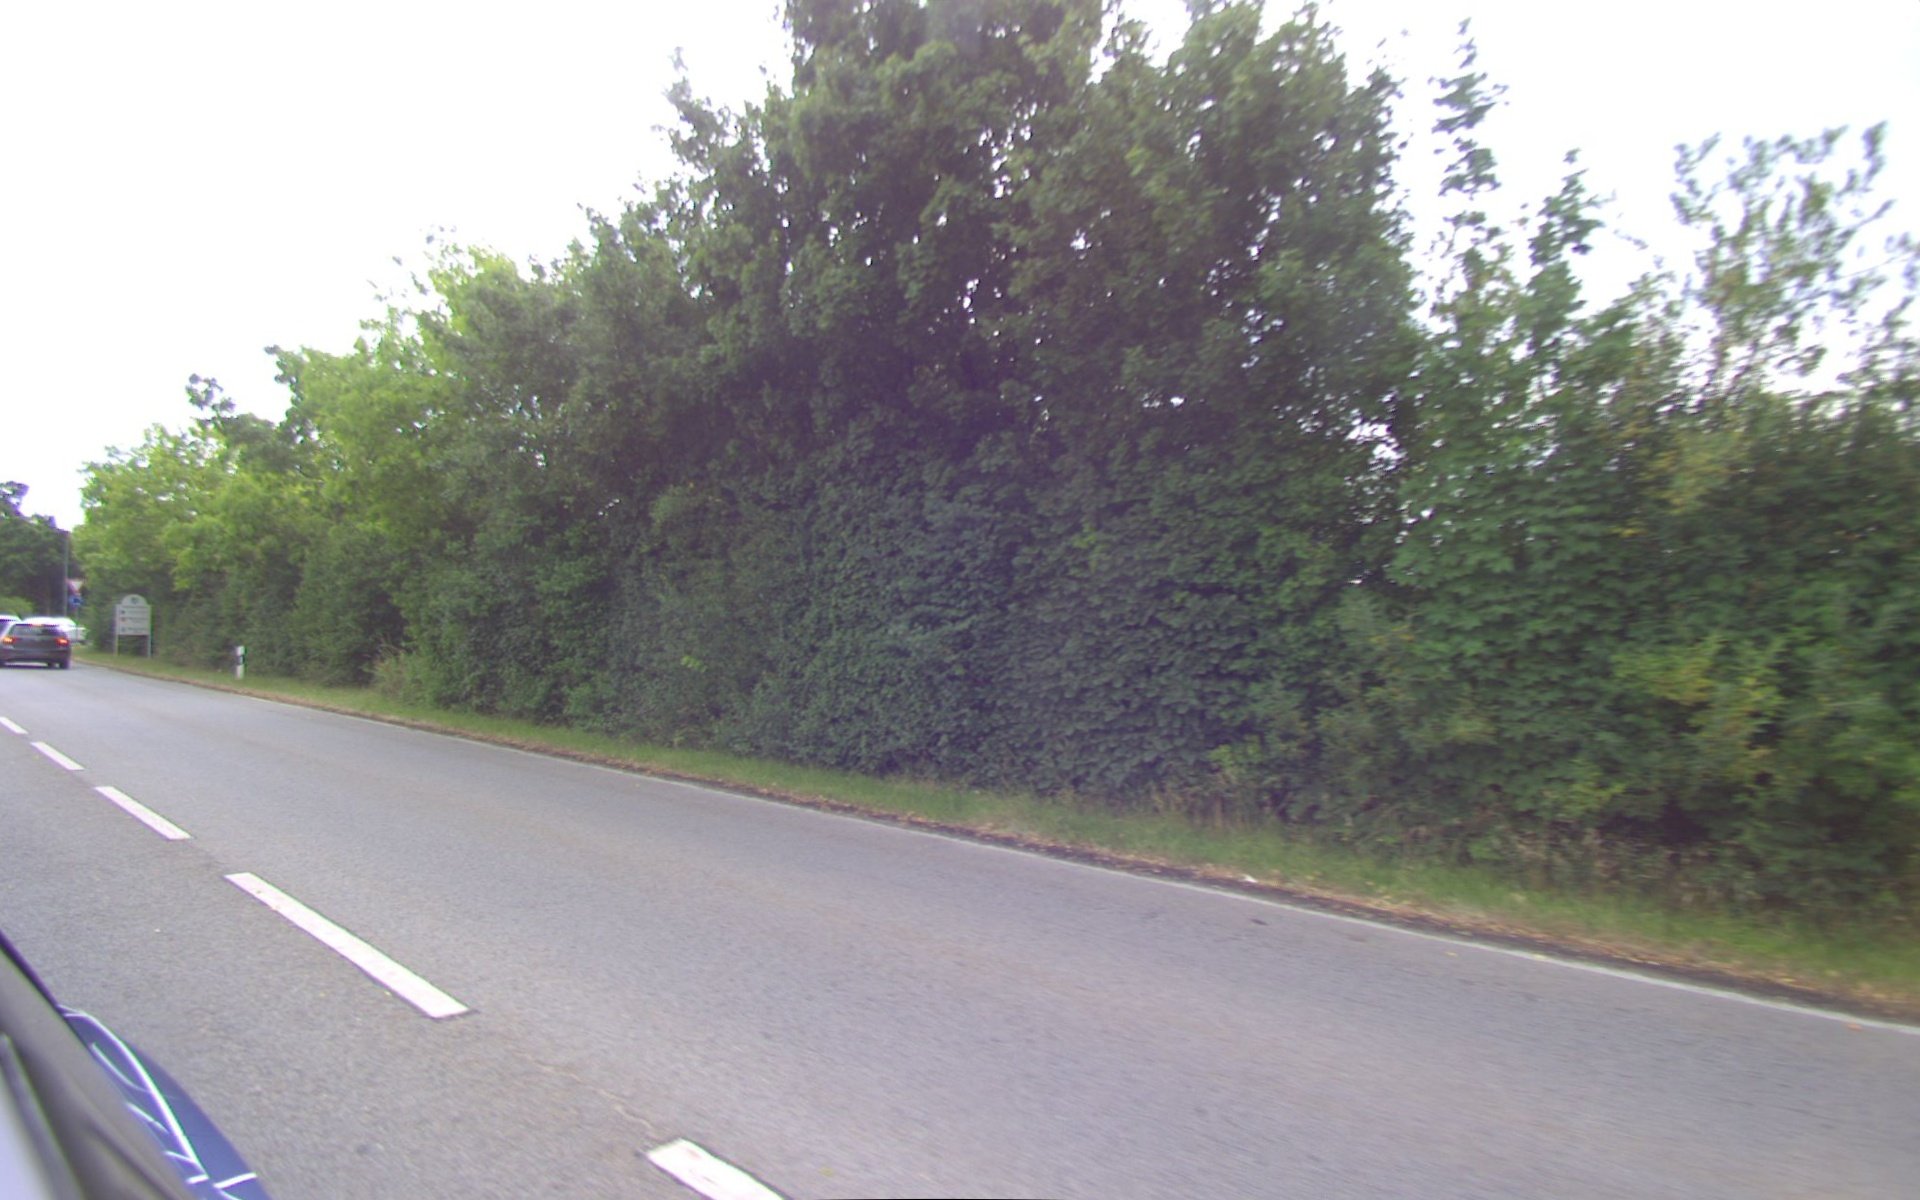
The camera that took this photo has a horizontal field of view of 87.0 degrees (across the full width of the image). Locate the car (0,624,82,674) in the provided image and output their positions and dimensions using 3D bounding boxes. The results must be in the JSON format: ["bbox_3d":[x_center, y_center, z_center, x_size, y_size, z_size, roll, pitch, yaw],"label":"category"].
[{"bbox_3d":[-29.373,1.502,31.758,4.473,1.430,1.973,-1,-4,40],"label":"car"}]

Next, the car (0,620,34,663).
[{"bbox_3d":[-38.294,1.593,40.051,4.664,1.614,1.972,-1,-4,43],"label":"car"}]
